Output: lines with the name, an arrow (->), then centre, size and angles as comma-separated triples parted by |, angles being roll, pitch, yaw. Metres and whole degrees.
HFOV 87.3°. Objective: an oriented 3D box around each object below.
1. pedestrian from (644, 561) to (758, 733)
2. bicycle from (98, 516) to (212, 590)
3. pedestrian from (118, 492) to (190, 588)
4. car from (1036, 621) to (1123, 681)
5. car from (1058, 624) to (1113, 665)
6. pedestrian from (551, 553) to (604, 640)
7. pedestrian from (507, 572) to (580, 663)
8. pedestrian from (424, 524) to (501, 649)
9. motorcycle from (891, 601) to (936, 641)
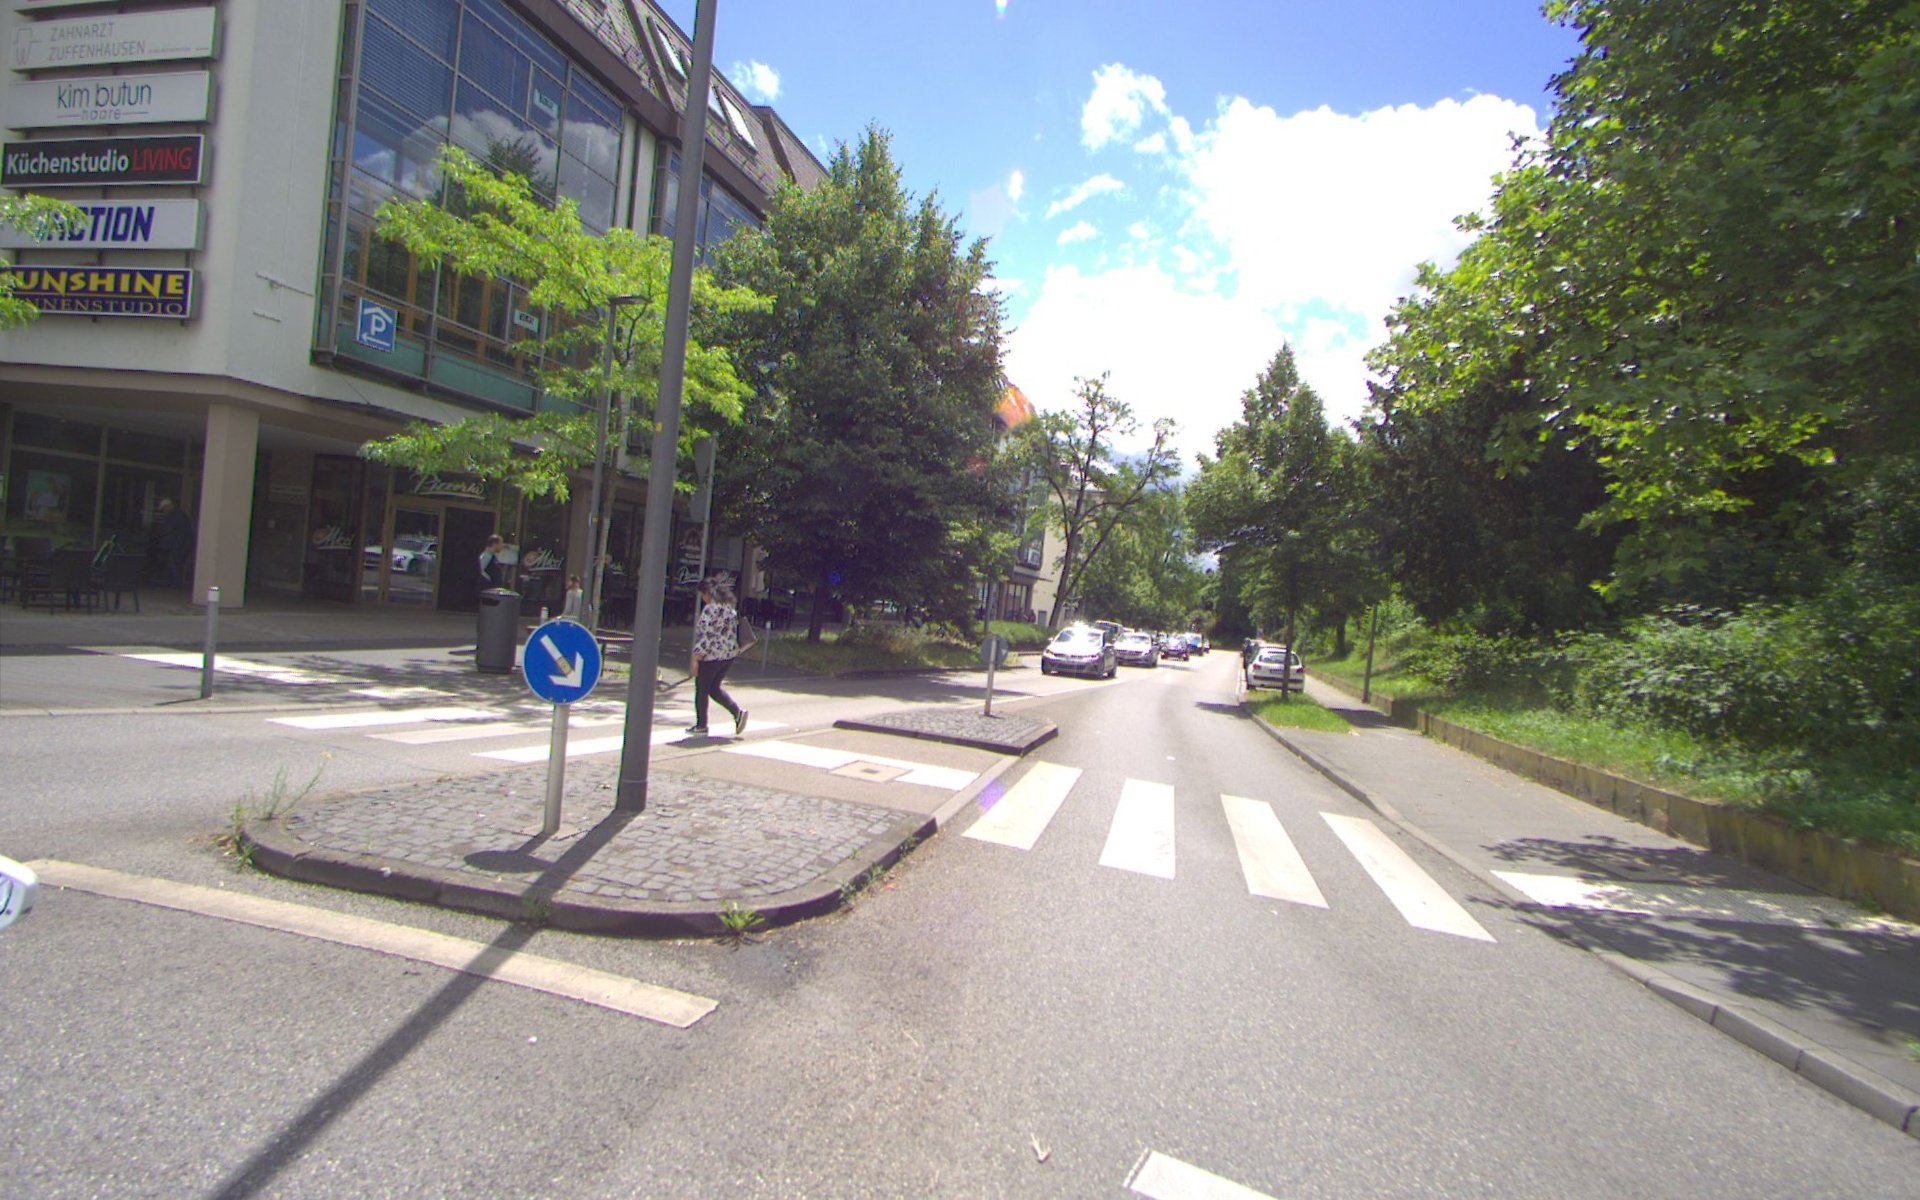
pedestrian -> -2.574, 0.450, 9.968 | 0.757, 1.573, 0.773 | 7, 1, -29
bicycle -> -15.148, -0.870, 18.977 | 1.528, 1.182, 0.492 | 8, -1, -33
pedestrian -> -15.243, -1.121, 19.045 | 0.605, 1.695, 0.698 | 7, 1, 14
car -> 3.712, 1.522, 30.594 | 1.962, 1.526, 4.587 | 4, -1, 14
car -> 5.819, 2.042, 46.151 | 1.962, 1.526, 4.588 | 7, -1, 12
pedestrian -> -7.816, -0.066, 20.568 | 0.606, 1.695, 0.698 | 7, 1, 1
pedestrian -> -6.396, 0.278, 15.458 | 0.685, 1.300, 0.617 | 7, 1, 27
pedestrian -> -7.745, -0.202, 15.671 | 0.685, 1.842, 0.617 | 7, 1, 19
motorcycle -> -1.647, 0.766, 36.051 | 0.841, 1.308, 2.186 | 6, 0, 17
